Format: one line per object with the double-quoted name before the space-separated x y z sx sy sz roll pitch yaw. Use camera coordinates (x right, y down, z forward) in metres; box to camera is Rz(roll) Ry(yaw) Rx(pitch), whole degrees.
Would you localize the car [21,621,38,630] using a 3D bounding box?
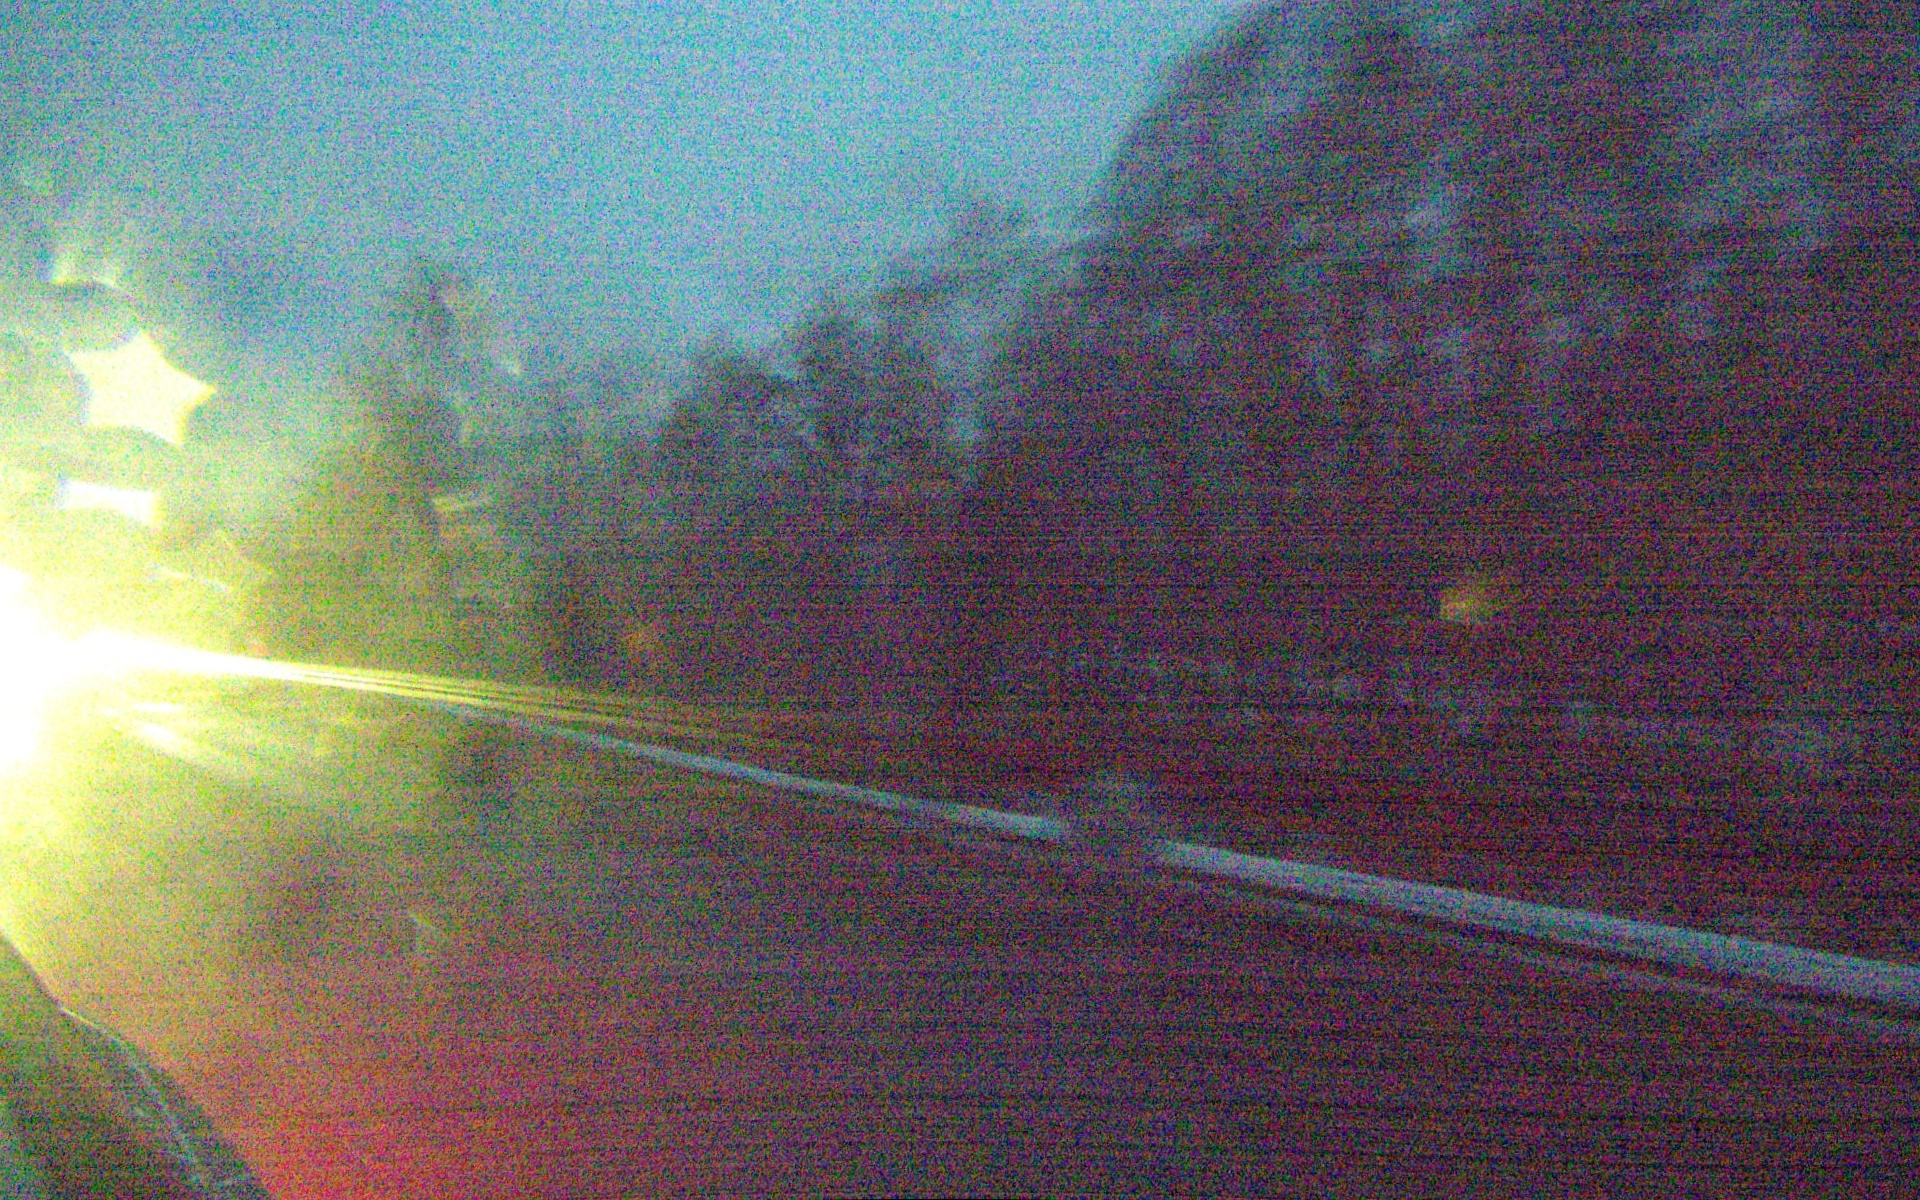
"car" -154.711 4.210 168.355 1.893 1.475 4.266 -1 0 -40
